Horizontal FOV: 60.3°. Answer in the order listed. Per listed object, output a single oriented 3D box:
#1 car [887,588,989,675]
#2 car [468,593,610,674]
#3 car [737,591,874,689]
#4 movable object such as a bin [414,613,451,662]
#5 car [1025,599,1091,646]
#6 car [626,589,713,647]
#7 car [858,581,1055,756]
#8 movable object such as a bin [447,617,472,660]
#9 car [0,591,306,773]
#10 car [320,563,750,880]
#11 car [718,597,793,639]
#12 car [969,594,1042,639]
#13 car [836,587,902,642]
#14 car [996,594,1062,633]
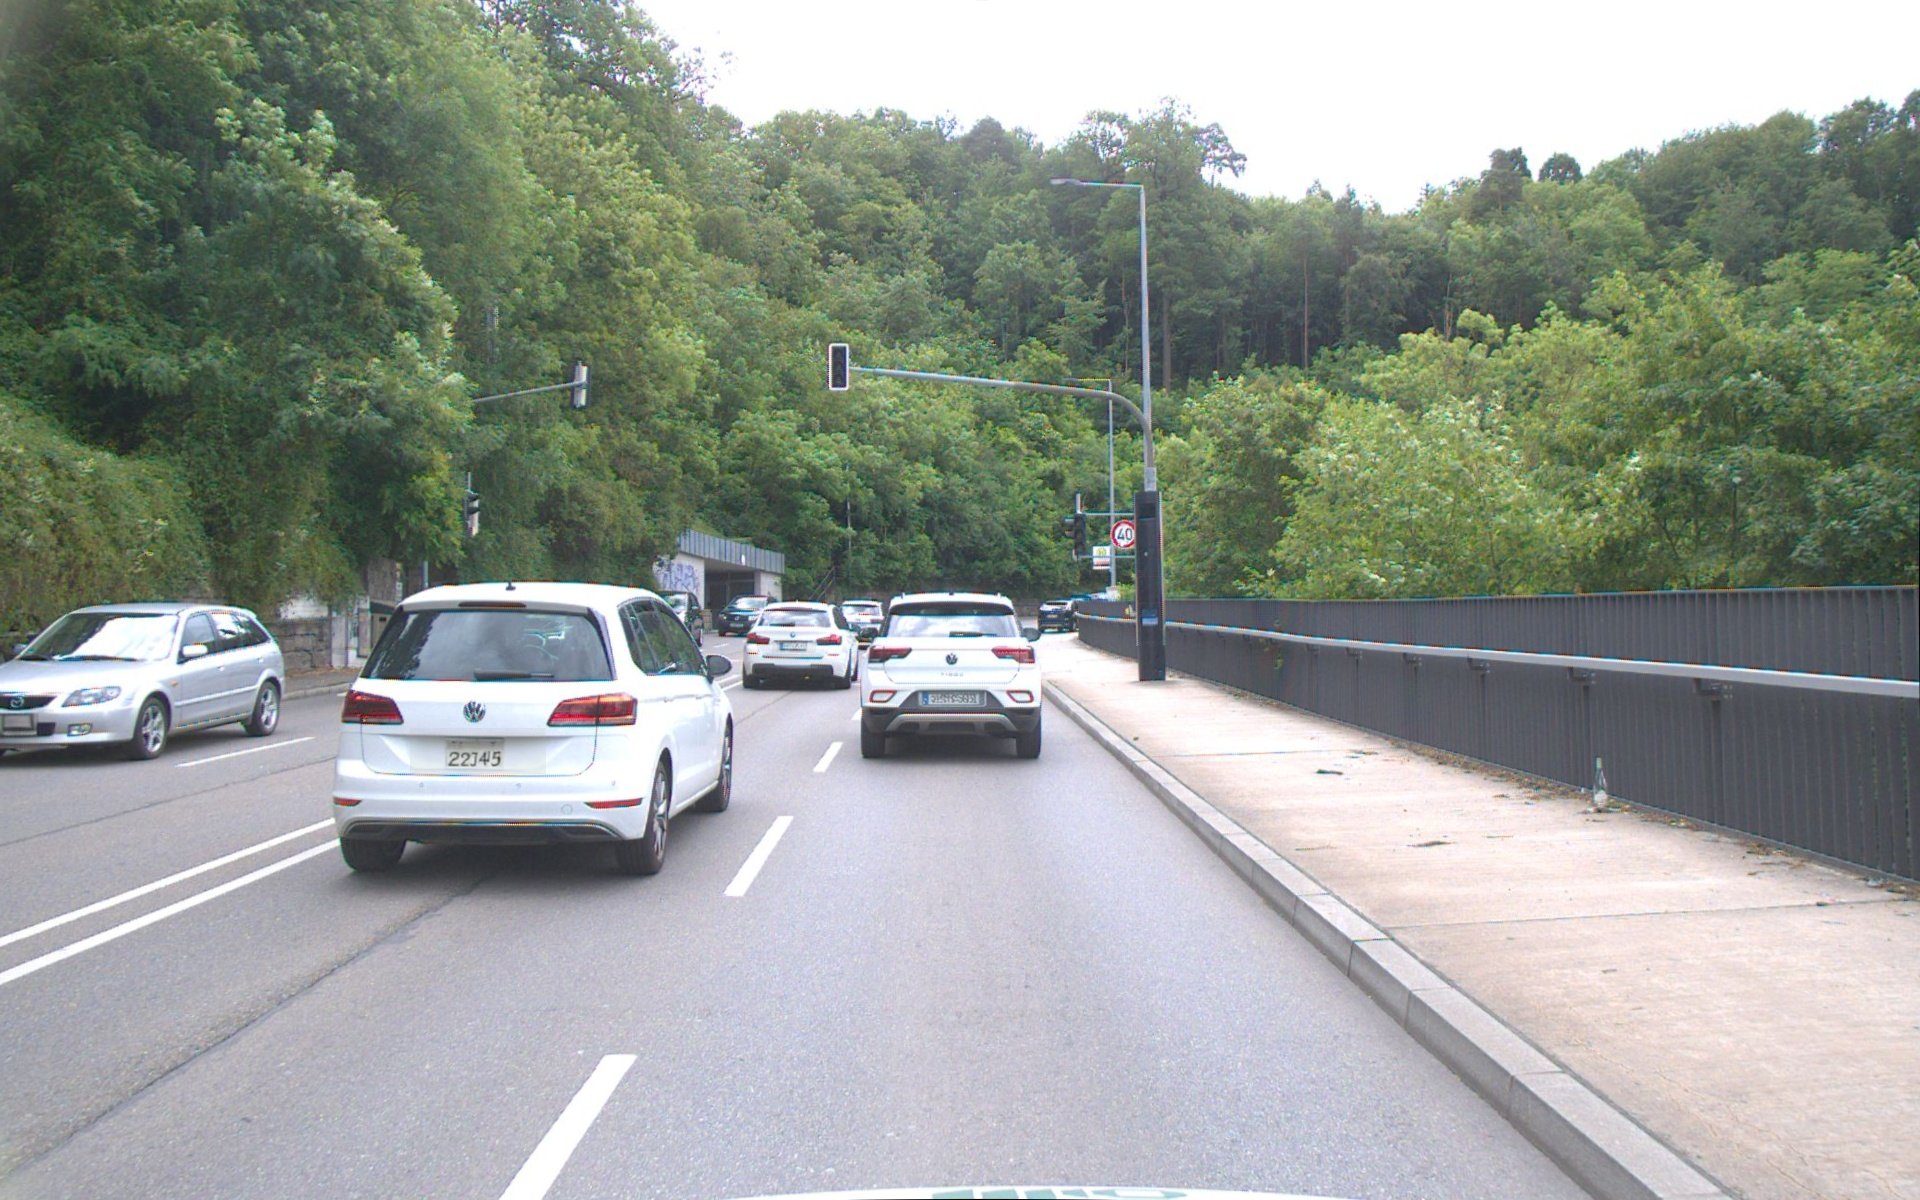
[{"bbox_3d":[-0.453,0.715,38.980,1.951,1.875,4.152,2,-1,5],"label":"car"},{"bbox_3d":[-8.691,0.675,34.528,1.902,1.576,4.248,0,0,-1],"label":"car"},{"bbox_3d":[-2.670,0.662,29.563,1.952,1.585,4.681,1,0,0],"label":"car"},{"bbox_3d":[-12.024,0.851,37.725,0.629,1.086,0.556,2,-1,-2],"label":"movable object such as a bin"},{"bbox_3d":[4.552,1.054,76.384,1.952,2.049,4.001,2,-1,19],"label":"car"},{"bbox_3d":[-8.202,0.483,47.056,1.745,1.508,4.211,2,0,-1],"label":"car"},{"bbox_3d":[0.009,0.633,17.063,1.776,1.566,4.009,-1,0,1],"label":"car"},{"bbox_3d":[-11.455,0.873,37.848,0.418,0.966,0.479,2,-1,-2],"label":"movable object such as a bin"},{"bbox_3d":[-8.149,0.693,16.358,1.642,1.467,4.233,2,1,0],"label":"car"},{"bbox_3d":[-2.397,0.613,10.433,1.685,1.581,4.274,0,0,-1],"label":"car"},{"bbox_3d":[-7.562,0.678,61.525,1.774,1.459,4.251,2,-1,7],"label":"car"},{"bbox_3d":[1.721,0.603,61.112,1.989,1.545,4.204,2,-1,11],"label":"car"},{"bbox_3d":[-2.813,0.451,52.006,1.824,1.623,3.999,2,-1,0],"label":"car"},{"bbox_3d":[3.541,0.688,84.471,1.954,1.897,3.996,0,0,26],"label":"car"}]
